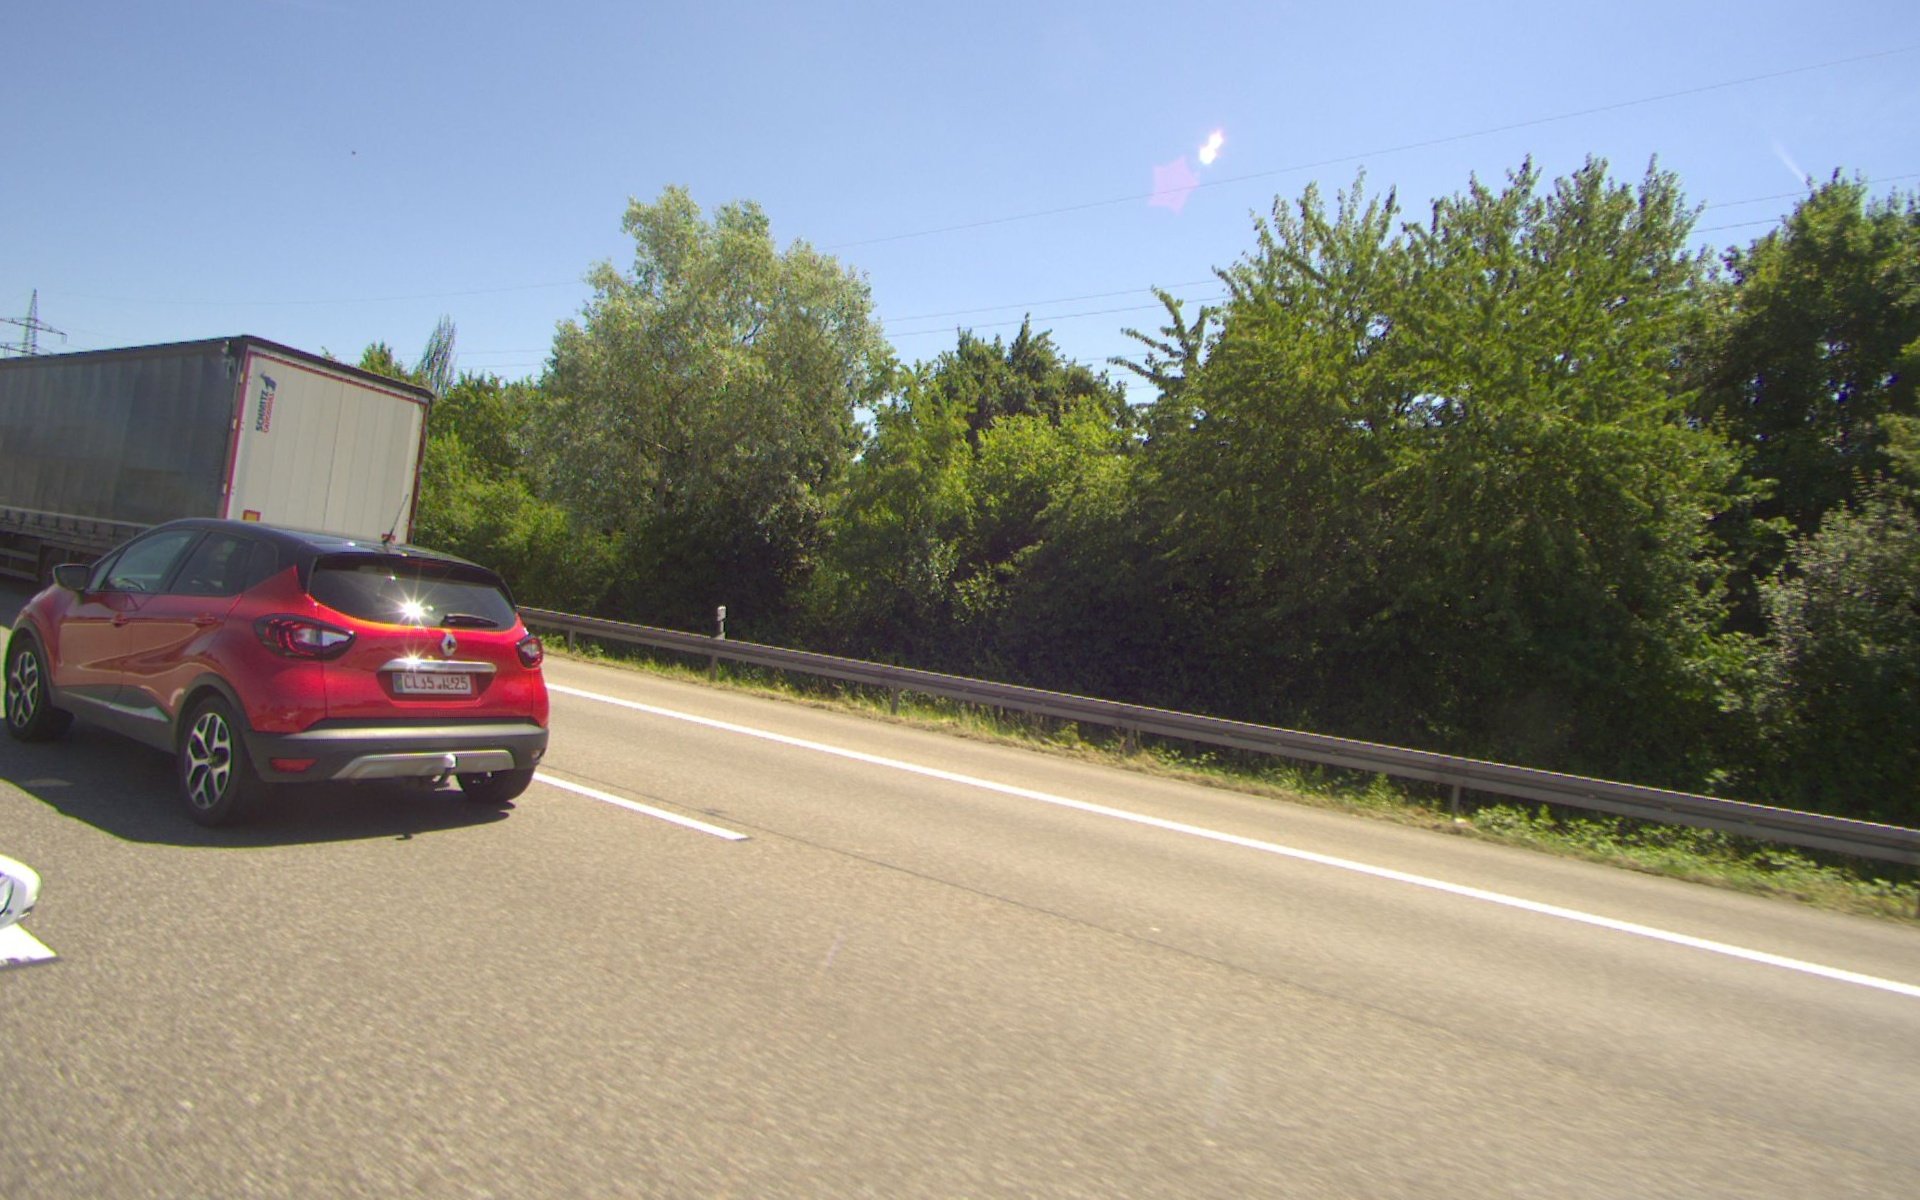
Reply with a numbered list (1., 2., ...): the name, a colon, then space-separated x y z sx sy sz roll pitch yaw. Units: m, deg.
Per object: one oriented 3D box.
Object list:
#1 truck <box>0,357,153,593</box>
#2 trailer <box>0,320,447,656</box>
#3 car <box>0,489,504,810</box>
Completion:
1. truck: -20.036 -2.619 21.139 5.628 4.214 2.798 6 -1 32
2. trailer: -14.368 -1.986 17.575 13.350 4.214 2.793 6 -1 32
3. car: -5.256 0.201 6.990 3.934 1.564 1.806 6 -1 32
